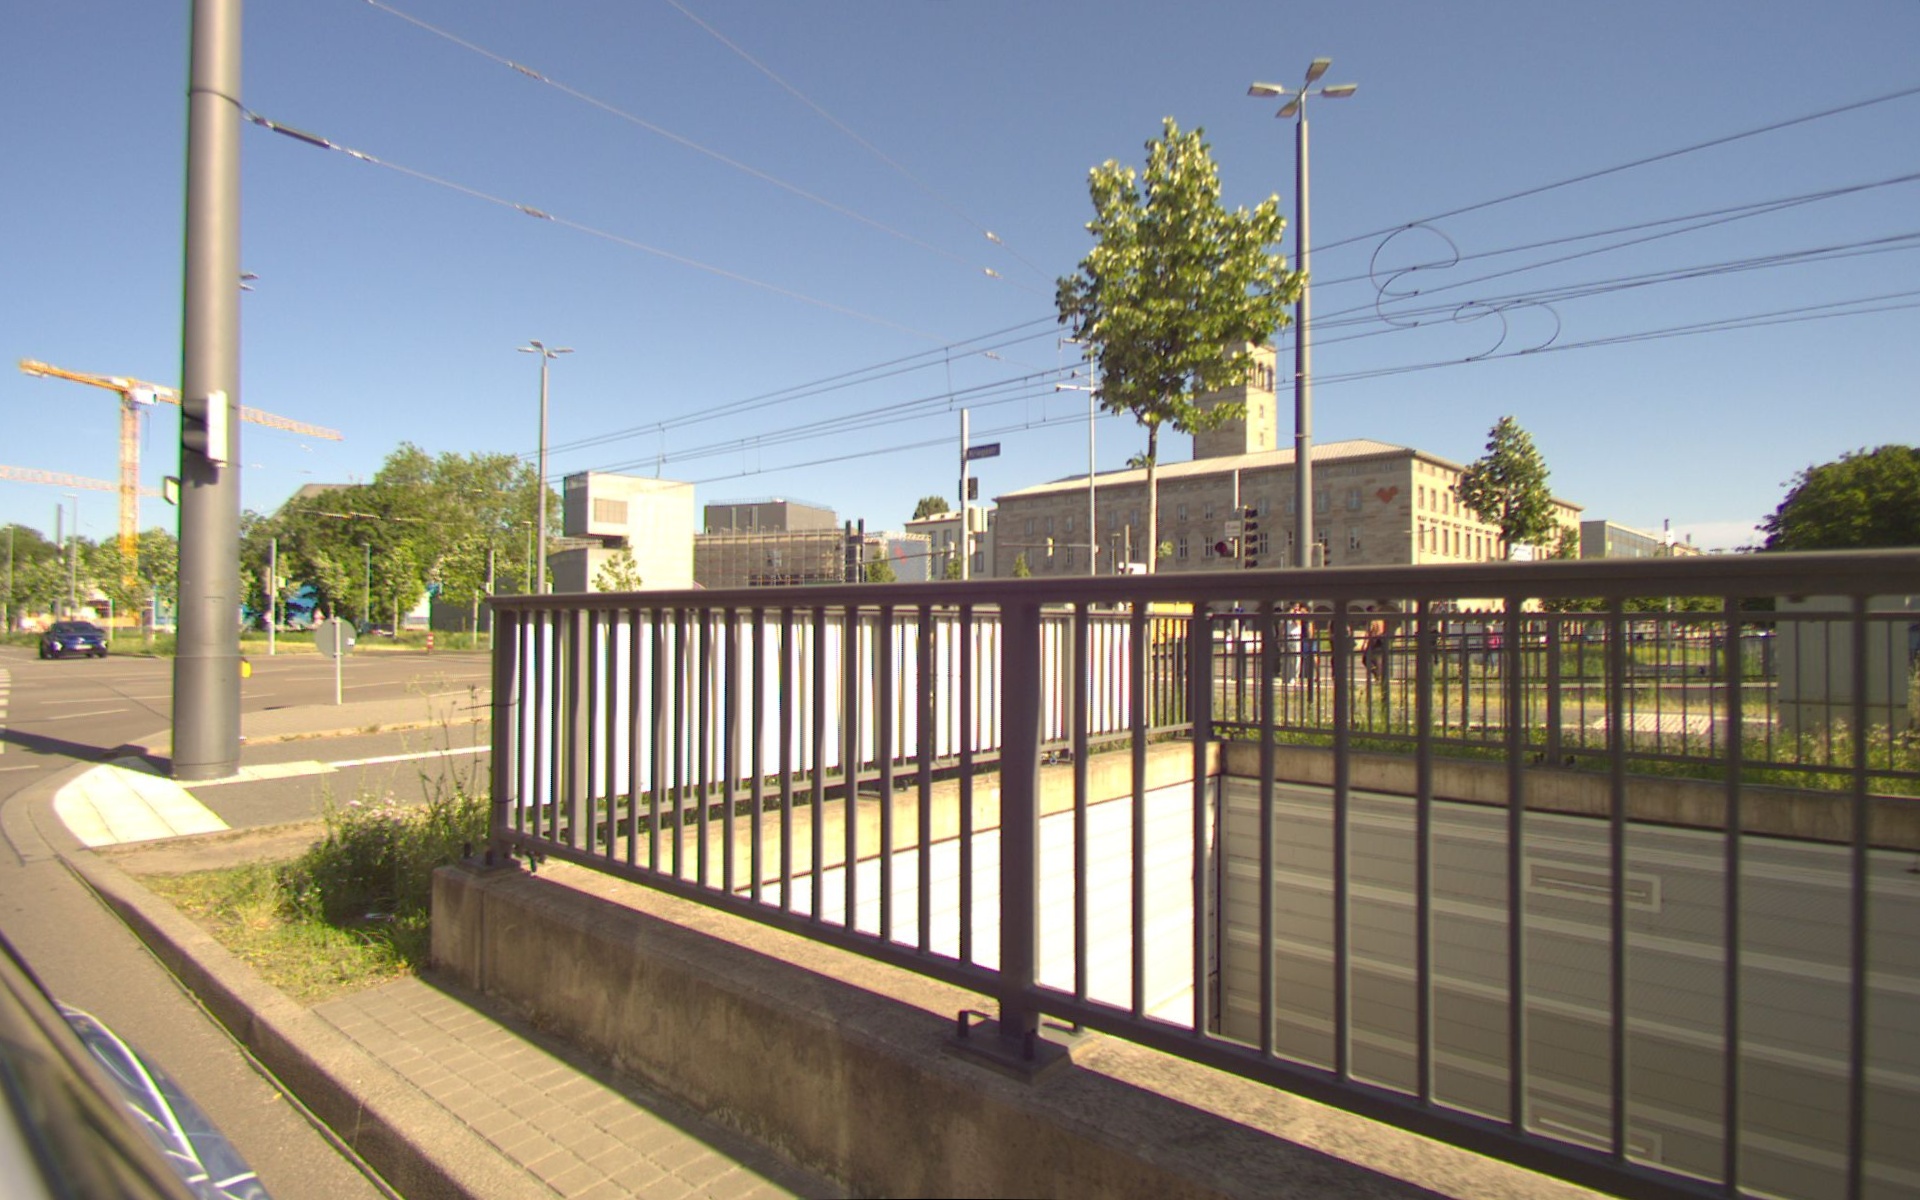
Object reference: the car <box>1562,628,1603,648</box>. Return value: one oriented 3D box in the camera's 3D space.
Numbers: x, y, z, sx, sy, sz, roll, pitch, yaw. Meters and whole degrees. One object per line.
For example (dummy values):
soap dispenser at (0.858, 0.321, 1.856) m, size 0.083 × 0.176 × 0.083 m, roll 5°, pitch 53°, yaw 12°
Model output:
car at (52.680, 3.225, 85.636) m, size 3.940 × 1.613 × 2.002 m, roll 1°, pitch -2°, yaw -44°

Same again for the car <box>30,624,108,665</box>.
car at (-37.457, 1.844, 42.510) m, size 4.083 × 1.600 × 1.753 m, roll -1°, pitch 0°, yaw 38°

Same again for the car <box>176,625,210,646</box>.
car at (-73.473, 3.359, 96.926) m, size 3.998 × 1.970 × 1.851 m, roll -2°, pitch -2°, yaw 41°

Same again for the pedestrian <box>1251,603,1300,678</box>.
pedestrian at (7.852, 0.995, 25.198) m, size 0.789 × 1.837 × 0.884 m, roll 0°, pitch -2°, yaw -17°

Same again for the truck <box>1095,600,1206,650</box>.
truck at (11.640, 1.500, 61.192) m, size 7.913 × 2.814 × 2.465 m, roll 1°, pitch -2°, yaw -44°

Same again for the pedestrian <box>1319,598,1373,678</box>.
pedestrian at (9.096, 0.893, 23.843) m, size 0.975 × 1.837 × 0.792 m, roll -2°, pitch -2°, yaw 39°

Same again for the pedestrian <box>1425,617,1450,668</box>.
pedestrian at (17.280, 1.530, 36.641) m, size 0.588 × 1.837 × 0.700 m, roll 0°, pitch -2°, yaw 4°

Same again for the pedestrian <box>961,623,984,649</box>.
pedestrian at (0.835, 2.425, 67.714) m, size 0.947 × 1.698 × 1.179 m, roll -3°, pitch -2°, yaw 42°

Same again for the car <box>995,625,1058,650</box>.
car at (4.373, 2.426, 66.213) m, size 3.940 × 1.551 × 1.905 m, roll 1°, pitch -2°, yaw -44°

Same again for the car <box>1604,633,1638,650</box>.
car at (66.618, 4.148, 101.992) m, size 3.940 × 1.613 × 2.002 m, roll 1°, pitch -2°, yaw -44°

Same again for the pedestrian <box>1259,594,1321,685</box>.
pedestrian at (6.849, 0.807, 20.998) m, size 0.975 × 1.837 × 0.792 m, roll -2°, pitch -2°, yaw 39°

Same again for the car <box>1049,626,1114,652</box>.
car at (7.547, 2.396, 62.628) m, size 3.940 × 1.551 × 1.905 m, roll 1°, pitch -2°, yaw -44°

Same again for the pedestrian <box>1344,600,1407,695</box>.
pedestrian at (8.365, 0.943, 20.375) m, size 0.975 × 1.837 × 0.792 m, roll -2°, pitch -2°, yaw 39°

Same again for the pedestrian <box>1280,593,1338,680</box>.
pedestrian at (7.632, 0.789, 22.144) m, size 0.975 × 1.837 × 0.792 m, roll -2°, pitch -2°, yaw 39°

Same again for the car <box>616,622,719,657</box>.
car at (-13.892, 1.859, 47.952) m, size 4.812 × 1.573 × 1.979 m, roll -1°, pitch -2°, yaw 31°

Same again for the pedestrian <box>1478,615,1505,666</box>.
pedestrian at (19.410, 1.476, 36.952) m, size 0.588 × 1.837 × 0.700 m, roll 0°, pitch -2°, yaw 4°

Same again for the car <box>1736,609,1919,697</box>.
car at (19.013, 1.070, 21.136) m, size 4.363 × 1.720 × 1.926 m, roll -1°, pitch -2°, yaw 40°

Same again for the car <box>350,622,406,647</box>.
car at (-40.141, 2.358, 69.790) m, size 4.557 × 1.720 × 1.973 m, roll -1°, pitch -2°, yaw 41°
